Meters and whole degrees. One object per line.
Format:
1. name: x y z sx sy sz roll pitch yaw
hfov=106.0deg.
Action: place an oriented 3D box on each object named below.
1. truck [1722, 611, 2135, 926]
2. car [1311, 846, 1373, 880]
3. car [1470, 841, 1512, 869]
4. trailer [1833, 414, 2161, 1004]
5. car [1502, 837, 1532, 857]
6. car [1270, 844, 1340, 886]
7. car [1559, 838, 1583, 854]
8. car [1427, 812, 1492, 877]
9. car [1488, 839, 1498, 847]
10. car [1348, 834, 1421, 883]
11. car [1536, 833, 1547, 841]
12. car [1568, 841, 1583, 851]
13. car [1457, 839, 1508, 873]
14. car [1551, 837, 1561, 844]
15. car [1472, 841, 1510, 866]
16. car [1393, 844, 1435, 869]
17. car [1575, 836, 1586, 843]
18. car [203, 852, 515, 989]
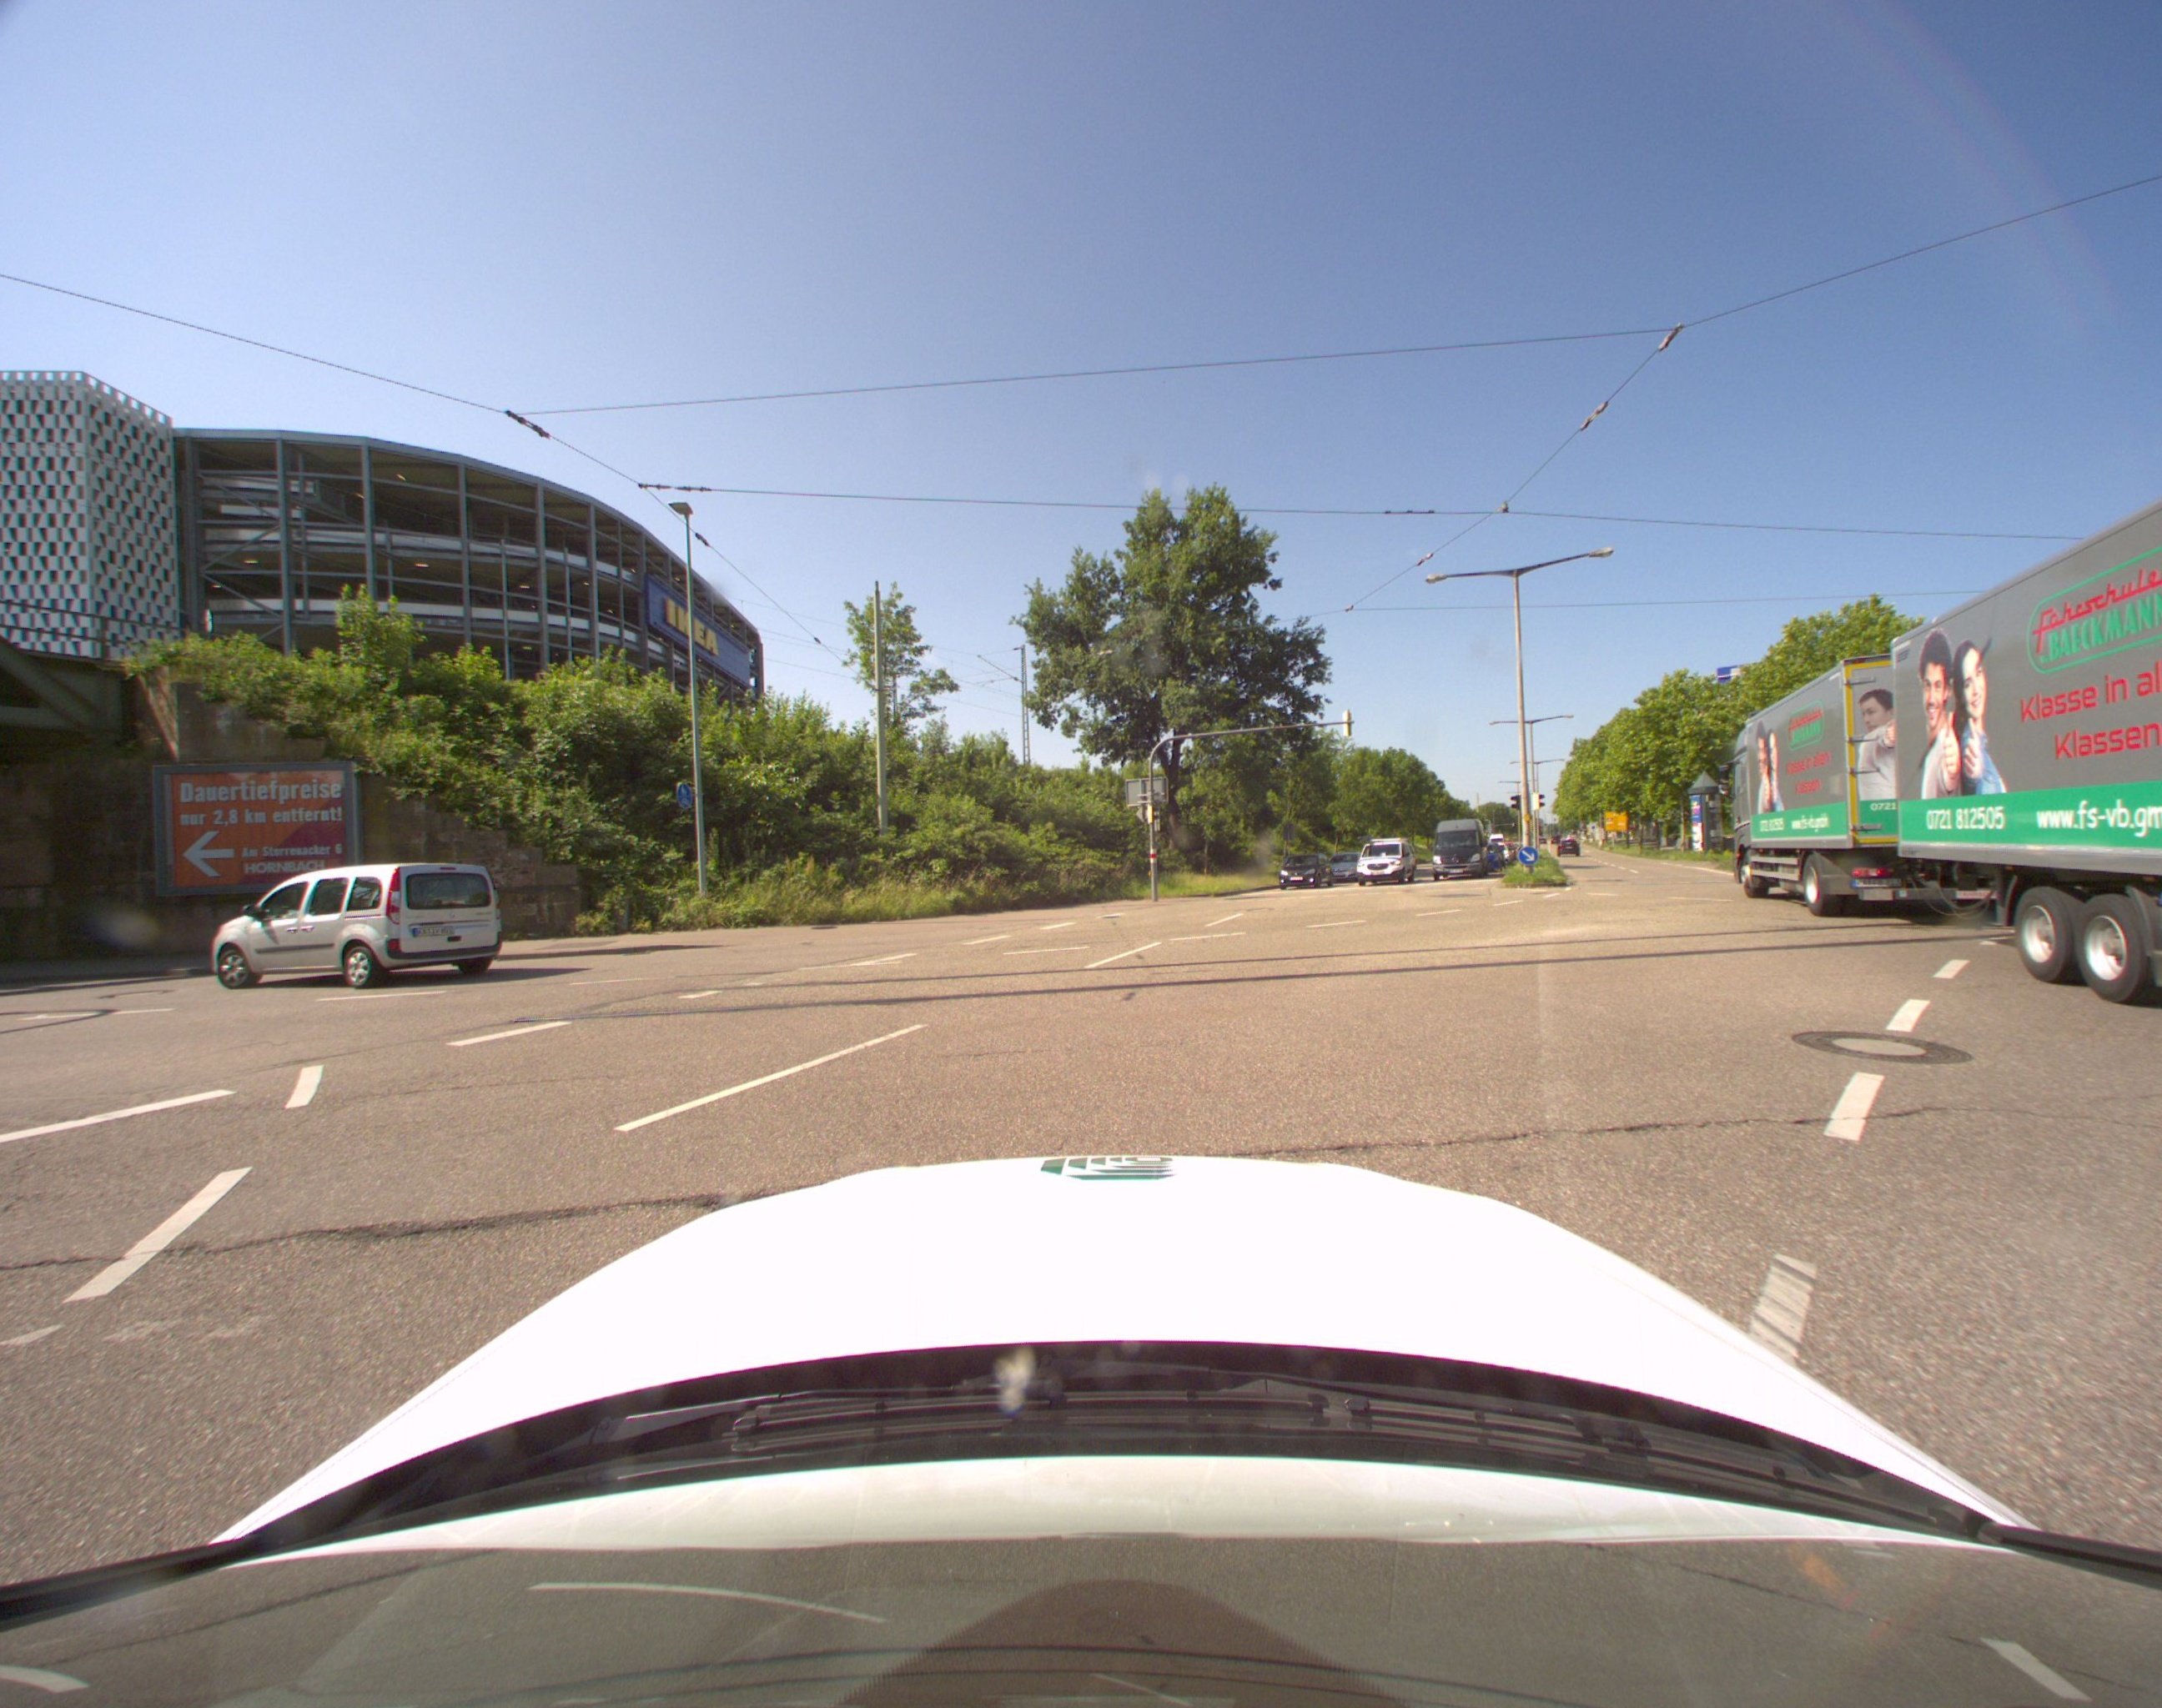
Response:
1. truck: 13.967 -1.065 14.515 2.703 3.889 8.777 -1 0 30
2. car: 13.079 0.414 40.672 1.974 1.540 4.263 -2 -1 30
3. car: 24.390 0.057 48.403 1.974 1.585 4.025 0 0 31
4. trailer: 9.789 -0.983 7.289 2.710 3.877 7.783 -2 -1 30
5. car: 36.227 -0.592 67.622 1.974 1.585 4.025 0 0 31
6. car: 9.517 0.452 34.472 1.893 1.641 3.760 -2 -1 30
7. car: 47.896 -0.777 79.592 1.974 1.585 4.484 0 0 31
8. car: 16.554 -0.387 35.491 1.974 2.607 5.166 -2 -1 30
9. car: 101.741 -2.666 200.981 1.870 2.013 4.025 0 0 30
10. car: 12.841 0.167 34.259 1.974 1.870 4.803 -2 -1 30
11. car: 100.427 -3.685 177.610 1.974 1.585 4.484 0 0 31
12. car: 78.783 -1.287 129.714 1.974 1.585 4.484 0 0 31
13. car: 20.728 0.104 41.945 1.974 1.585 4.025 -3 -1 31
14. car: 102.981 -2.917 176.522 1.974 1.585 4.484 0 0 31
15. car: 27.352 -0.037 54.231 1.974 1.585 4.025 0 0 31
16. car: 22.245 0.141 54.315 1.974 1.585 4.484 0 0 31
17. car: 111.284 -3.211 181.332 1.974 1.585 4.484 0 0 31
18. car: -11.232 1.014 12.729 3.955 1.838 1.800 -4 -1 17
